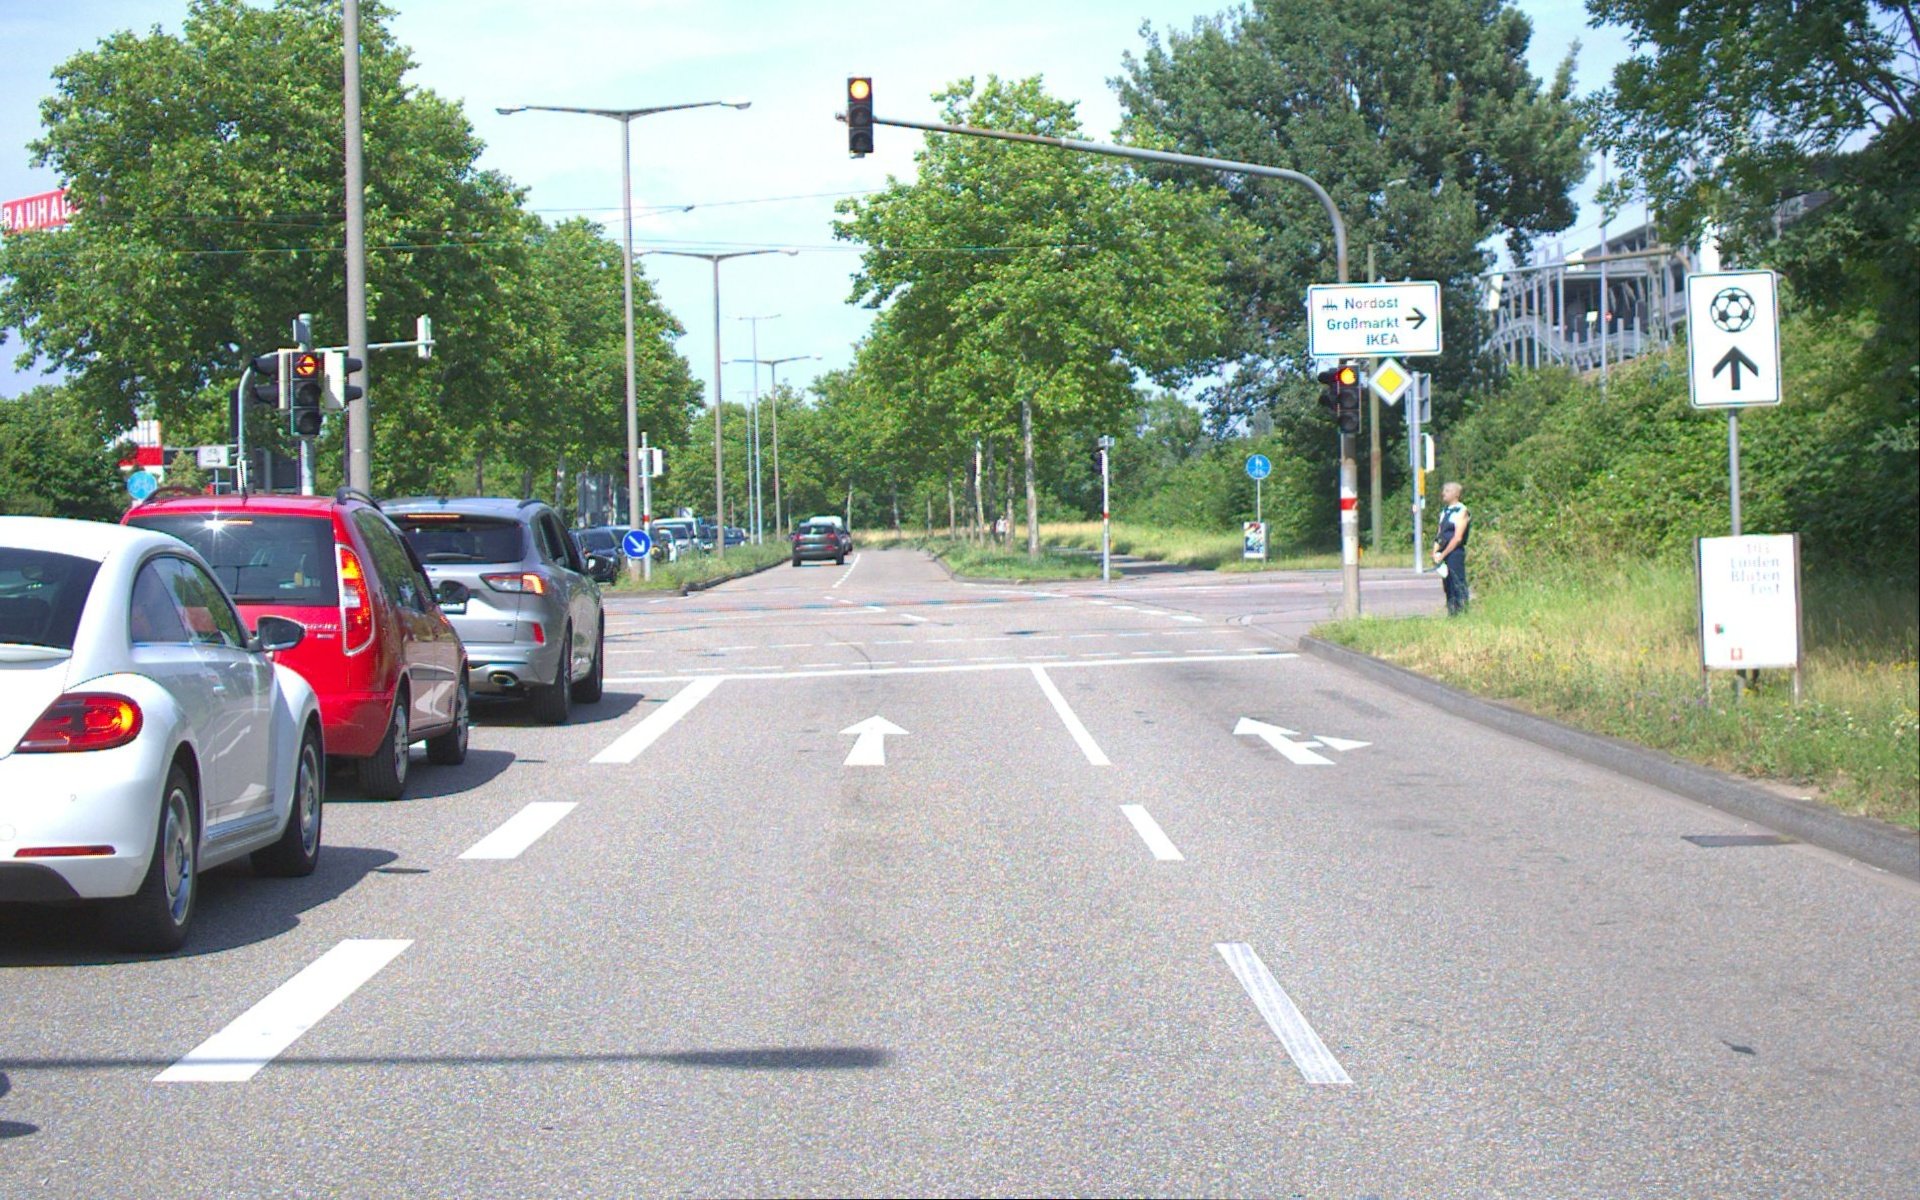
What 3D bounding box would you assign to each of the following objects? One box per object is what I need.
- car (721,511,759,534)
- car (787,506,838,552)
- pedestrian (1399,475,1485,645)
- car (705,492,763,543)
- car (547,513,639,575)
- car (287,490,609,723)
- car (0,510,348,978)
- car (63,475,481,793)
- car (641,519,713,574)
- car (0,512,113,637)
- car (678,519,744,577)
[{"bbox_3d":[-16.384,-5.783,255.496,1.865,1.689,4.411,-1,2,-17],"label":"car"},{"bbox_3d":[-5.423,-2.633,127.043,1.736,1.530,4.001,0,4,0],"label":"car"},{"bbox_3d":[5.600,-0.472,39.984,0.837,1.926,0.772,-1,3,-4],"label":"pedestrian"},{"bbox_3d":[-8.740,-3.206,132.972,1.993,1.889,4.376,-1,2,-1],"label":"car"},{"bbox_3d":[-9.411,-1.458,88.383,1.993,1.495,4.001,-1,2,-1],"label":"car"},{"bbox_3d":[-3.787,-0.006,26.102,1.881,1.612,4.213,0,1,-1],"label":"car"},{"bbox_3d":[-3.520,0.403,12.950,1.766,1.474,4.136,0,2,-1],"label":"car"},{"bbox_3d":[-3.771,0.156,19.443,1.628,1.590,3.918,-1,0,-1],"label":"car"},{"bbox_3d":[-8.603,-1.643,104.756,1.903,1.590,4.001,-1,2,-1],"label":"car"},{"bbox_3d":[-11.965,-0.326,42.856,1.775,1.465,4.000,-2,2,0],"label":"car"},{"bbox_3d":[-8.449,-1.784,117.047,1.993,1.889,4.376,-1,2,-2],"label":"car"}]
